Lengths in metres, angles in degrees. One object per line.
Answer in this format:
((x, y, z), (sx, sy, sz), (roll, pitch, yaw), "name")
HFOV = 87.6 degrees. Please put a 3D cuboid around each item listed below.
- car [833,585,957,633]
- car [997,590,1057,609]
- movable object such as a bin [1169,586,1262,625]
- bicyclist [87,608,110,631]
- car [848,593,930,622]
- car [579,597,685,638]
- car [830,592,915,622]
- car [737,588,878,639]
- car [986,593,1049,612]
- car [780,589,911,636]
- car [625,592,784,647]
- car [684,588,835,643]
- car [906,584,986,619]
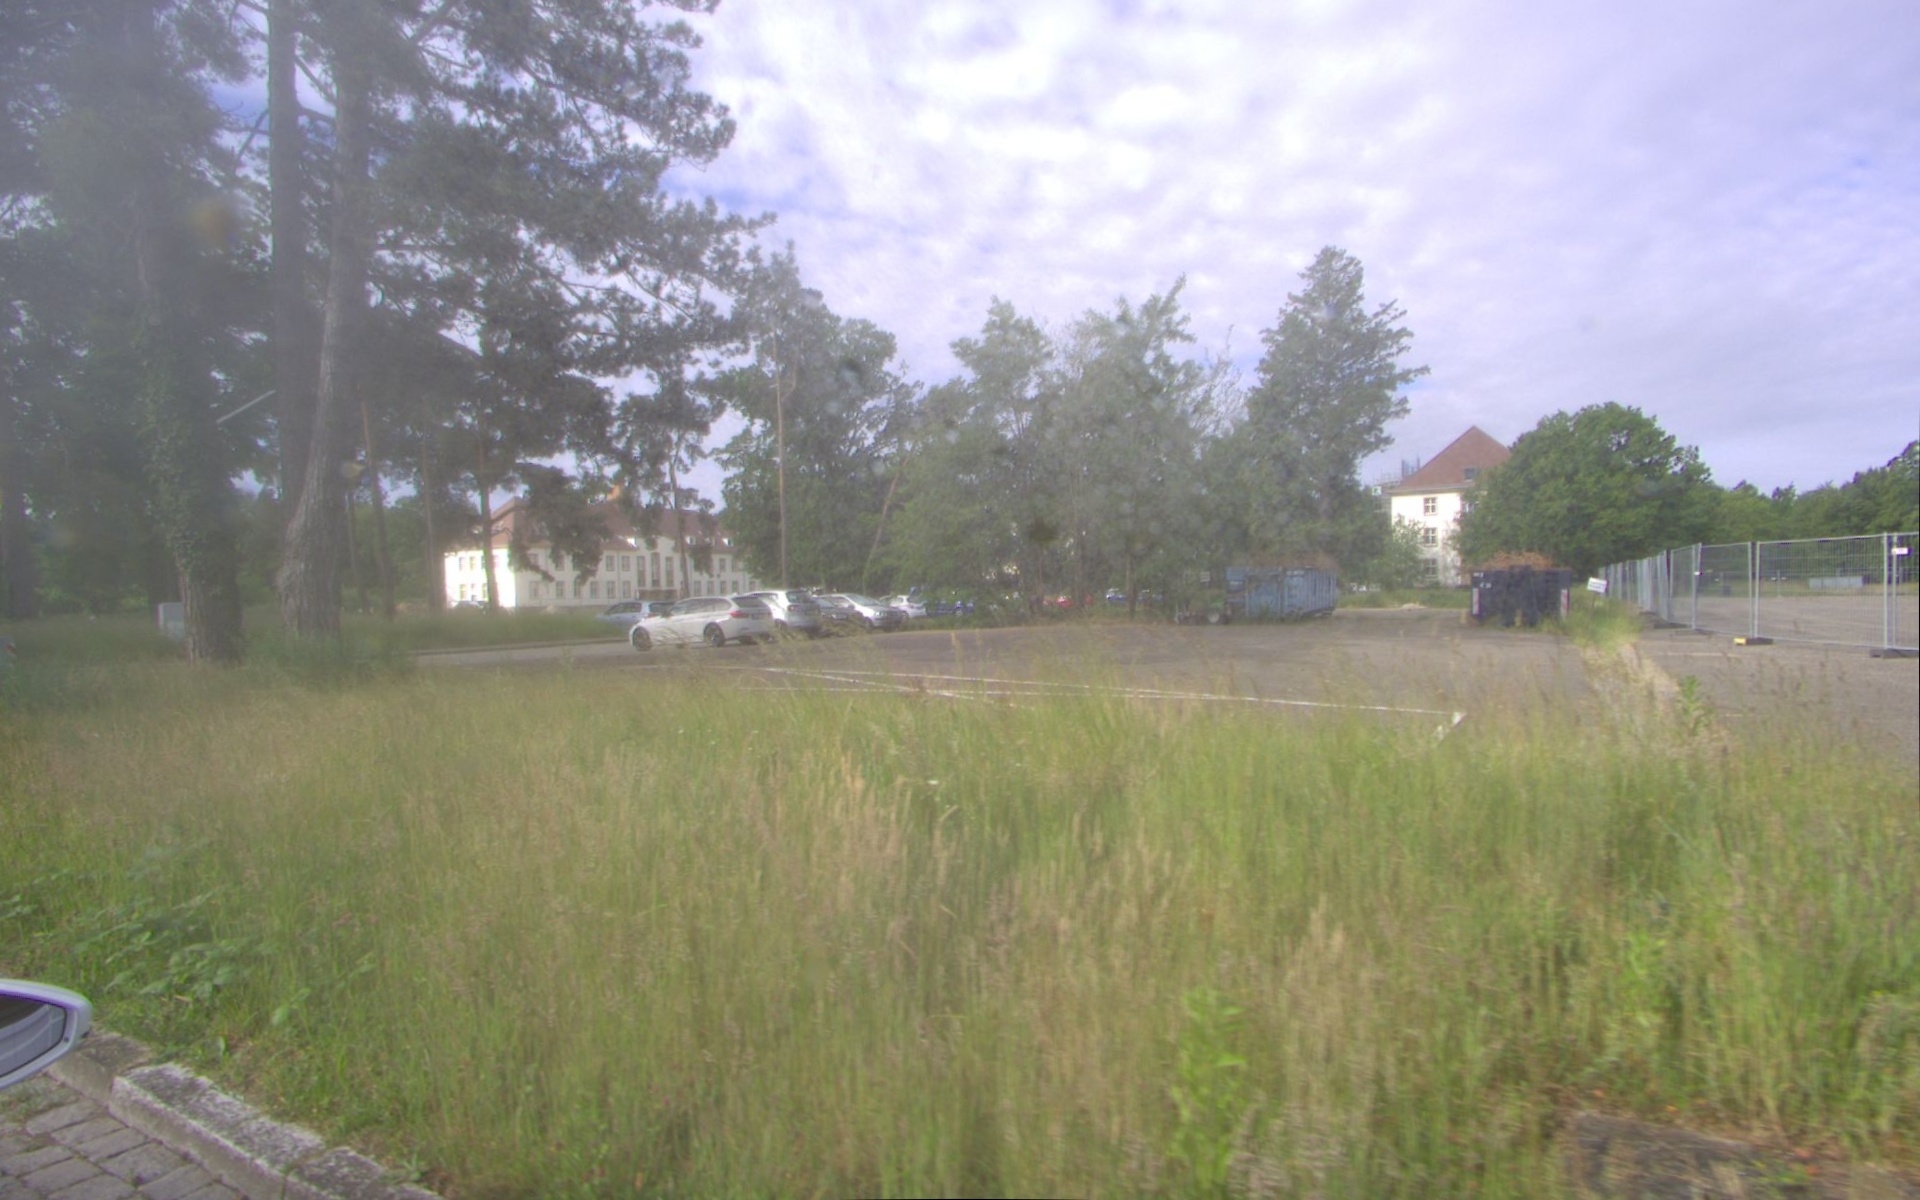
((-2.473, 0.336, 38.058), (4.379, 1.709, 1.864), (-1, 1, 28), "car")
((4.717, -0.018, 70.633), (3.933, 1.226, 1.657), (-1, 1, 23), "car")
((7.601, 0.138, 29.868), (2.505, 1.098, 1.060), (1, 2, 30), "movable object such as a bin")
((-59.241, 1.360, 68.865), (0.795, 1.531, 0.973), (0, 2, 27), "bicyclist")
((-4.012, 0.422, 56.339), (4.379, 1.545, 1.750), (-1, 1, 28), "car")
((-13.407, 0.704, 40.846), (4.385, 1.545, 1.748), (-1, 1, 33), "car")
((-4.750, 0.399, 54.359), (4.379, 1.545, 1.750), (-1, 1, 28), "car")
((-5.085, 0.438, 33.342), (4.379, 1.598, 1.864), (-1, 1, 28), "car")
((3.883, 0.170, 67.883), (3.933, 1.226, 1.657), (-1, 1, 23), "car")
((-4.109, 0.438, 35.937), (4.379, 1.598, 1.864), (-1, 1, 28), "car")
((-7.316, 0.568, 28.591), (4.379, 1.434, 1.750), (-2, 1, 28), "car")
((-6.219, 0.471, 30.944), (4.379, 1.598, 1.864), (-1, 1, 28), "car")
((-0.872, 0.095, 60.540), (4.585, 1.994, 1.750), (-1, 1, 28), "car")
